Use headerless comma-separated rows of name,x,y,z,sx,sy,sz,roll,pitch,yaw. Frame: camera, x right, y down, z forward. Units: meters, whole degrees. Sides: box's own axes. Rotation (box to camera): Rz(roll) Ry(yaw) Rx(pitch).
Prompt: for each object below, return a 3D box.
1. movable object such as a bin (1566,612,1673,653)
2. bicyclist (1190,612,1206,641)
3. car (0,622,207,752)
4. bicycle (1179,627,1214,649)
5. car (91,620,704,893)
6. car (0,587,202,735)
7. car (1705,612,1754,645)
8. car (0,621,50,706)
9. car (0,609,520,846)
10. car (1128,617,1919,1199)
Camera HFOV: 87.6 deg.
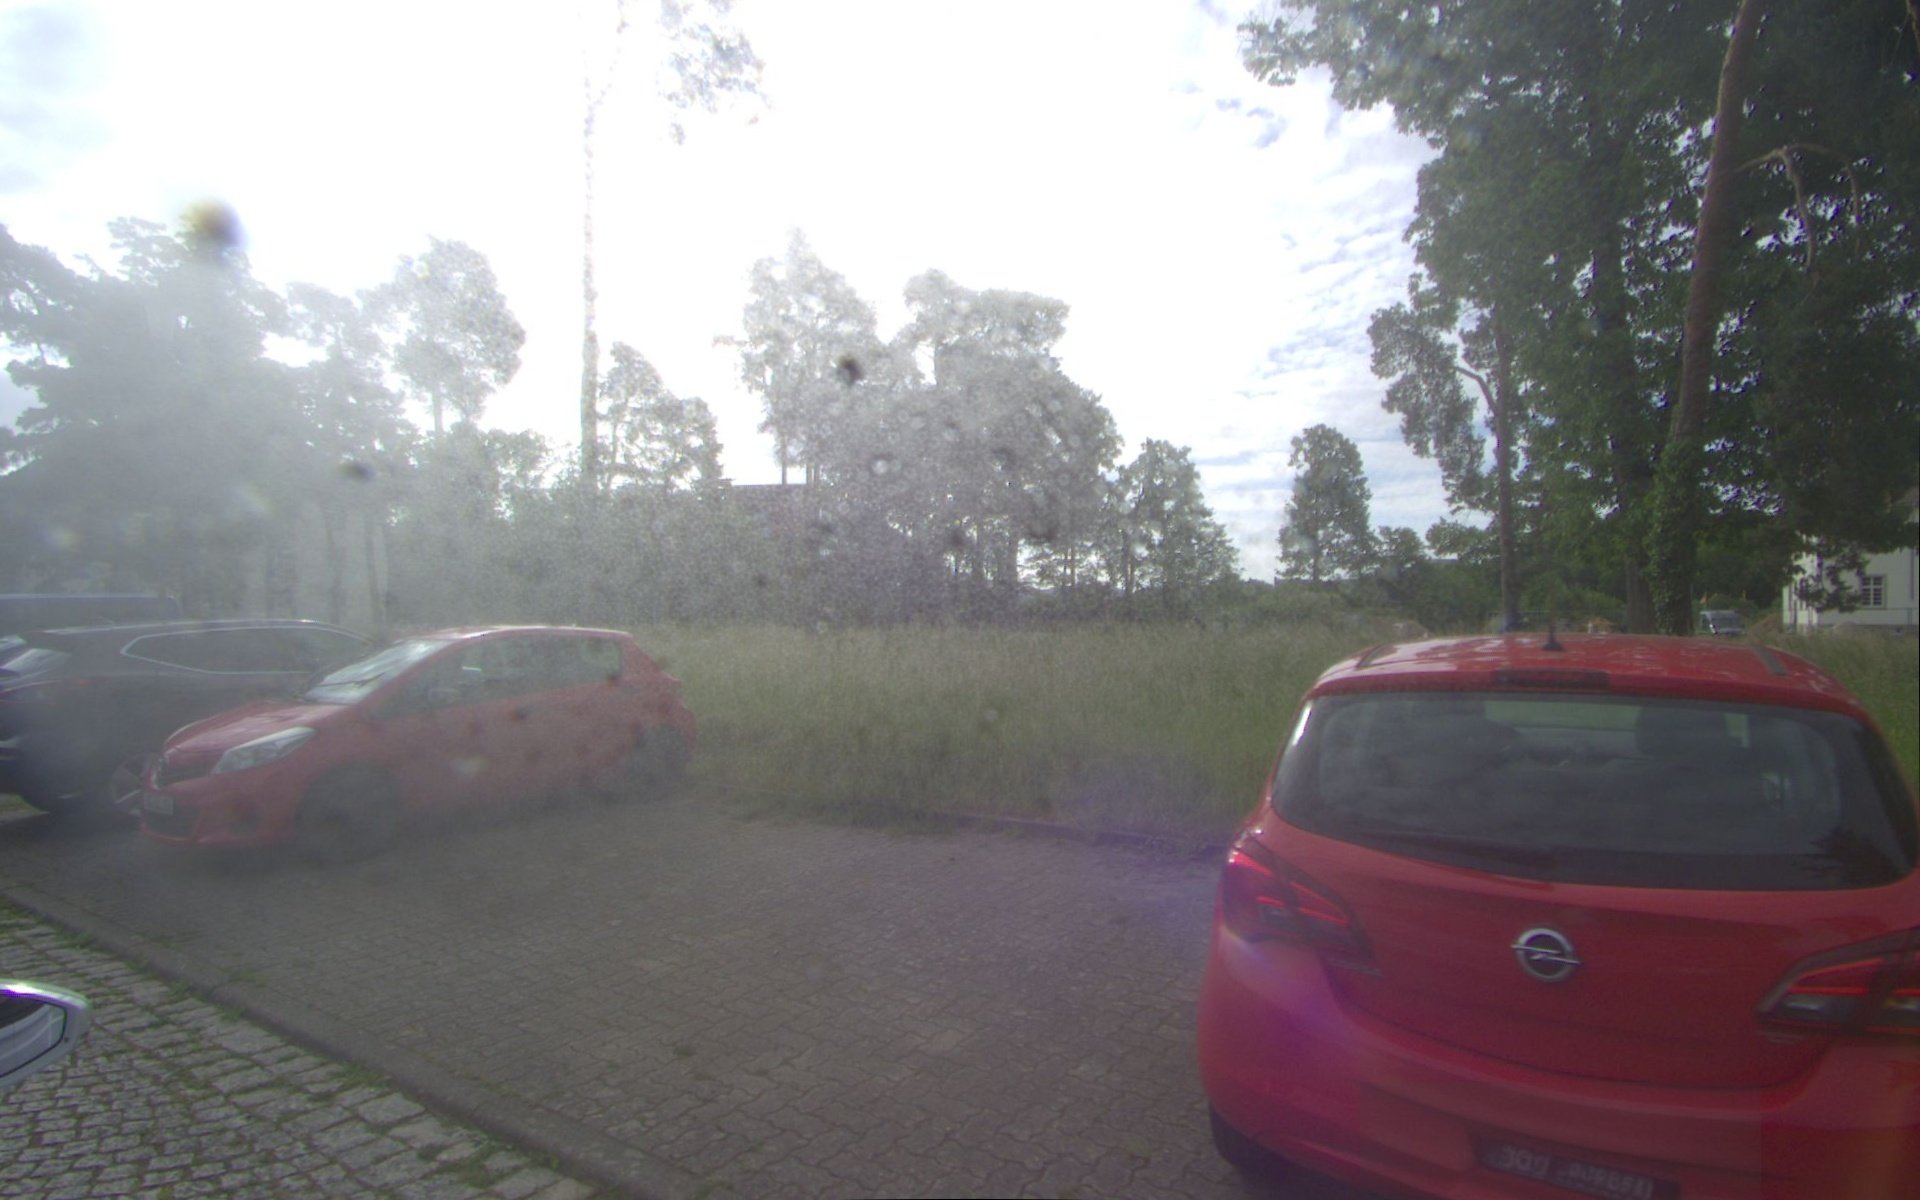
movable object such as a bin,45.449,2.237,69.205,2.141,2.689,5.957,1,-2,-25
bicyclist,14.143,1.587,59.496,0.762,1.717,0.723,0,-1,34
car,-11.718,1.049,12.262,1.591,1.469,3.666,-1,0,30
bicycle,14.025,2.249,59.514,1.906,1.244,0.721,-1,-2,34
car,-4.024,0.939,7.777,1.726,1.479,3.783,-1,0,33
car,-13.718,0.830,13.877,1.903,1.980,4.745,-1,0,31
car,56.405,2.093,73.472,1.886,2.378,4.584,0,-2,25
car,-17.985,1.127,16.862,1.502,1.469,3.665,-1,0,31
car,-6.310,0.908,9.048,1.725,1.573,4.022,-1,0,30
car,2.164,0.842,3.558,1.754,1.479,3.817,-1,0,32
